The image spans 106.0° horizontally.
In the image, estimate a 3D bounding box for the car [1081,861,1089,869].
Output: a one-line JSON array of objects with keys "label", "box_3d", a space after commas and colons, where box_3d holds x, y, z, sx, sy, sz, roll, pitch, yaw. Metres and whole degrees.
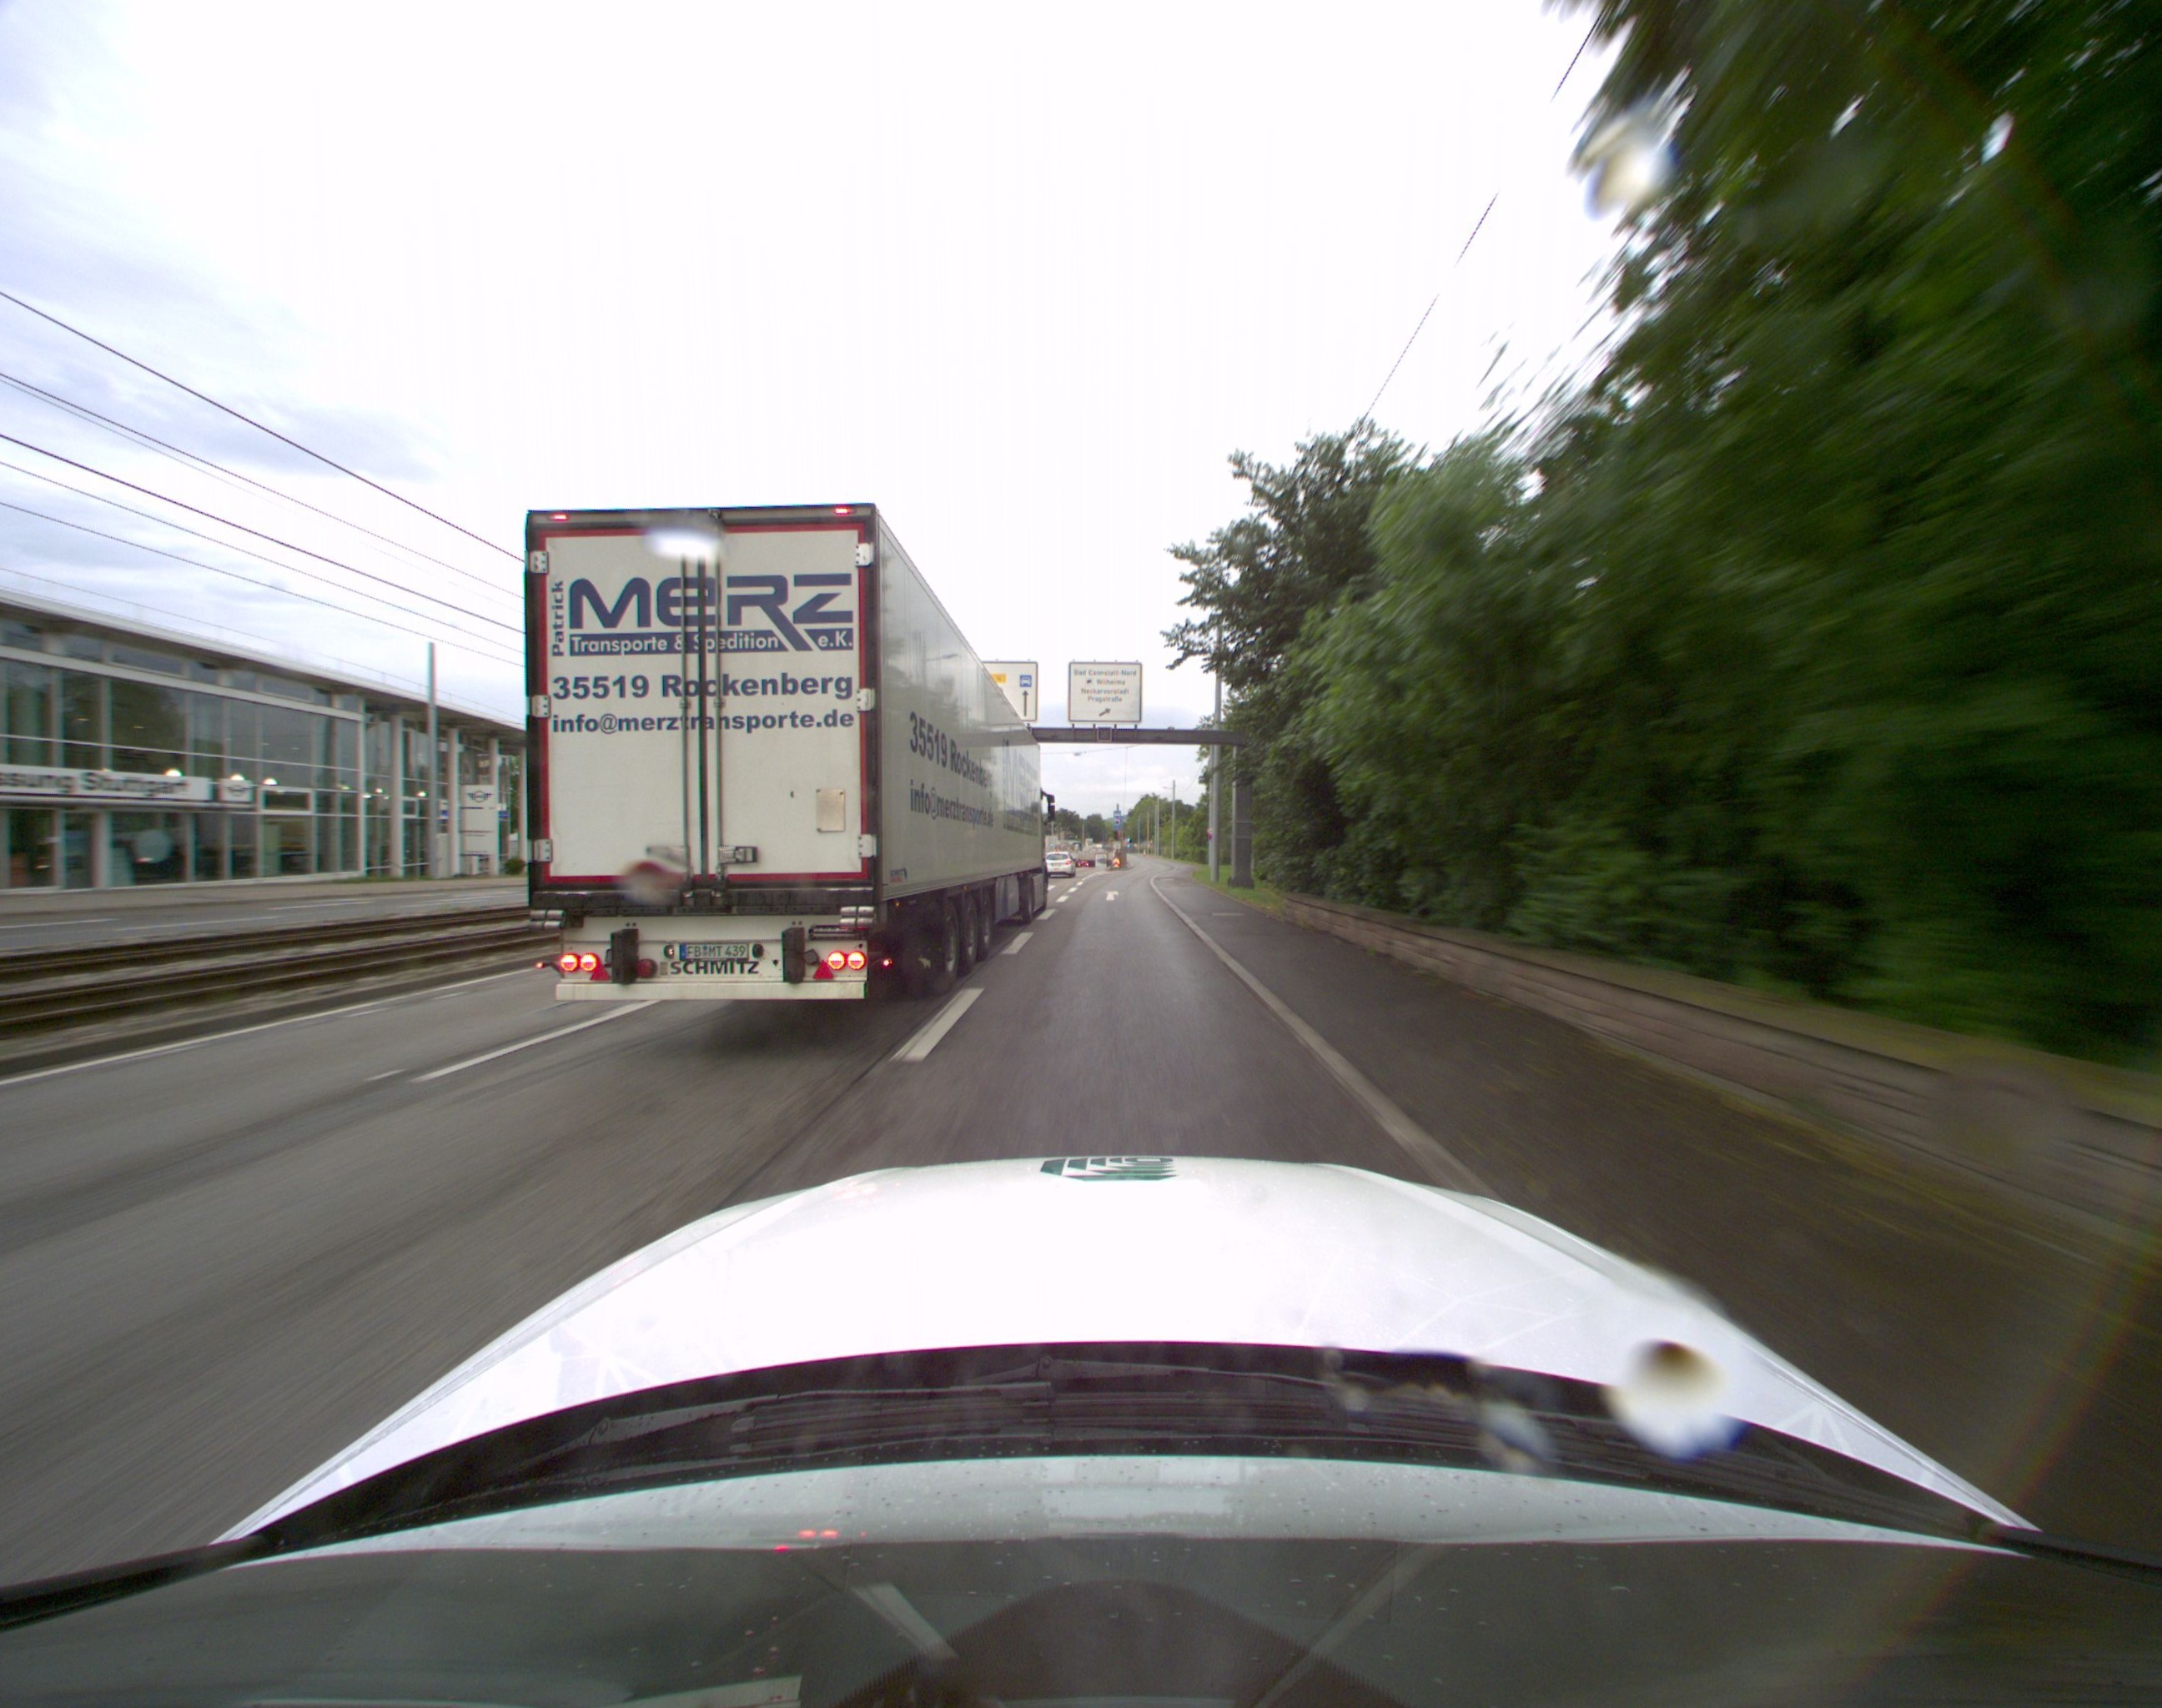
[{"label": "car", "box_3d": [0.674, 1.937, 142.928, 1.421, 1.354, 2.961, 0, 0, 1]}]

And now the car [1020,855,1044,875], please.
[{"label": "car", "box_3d": [-3.991, 0.844, 66.993, 1.675, 1.446, 4.002, 0, 2, 1]}]

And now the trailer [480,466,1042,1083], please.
[{"label": "trailer", "box_3d": [-2.555, -0.604, 12.284, 2.752, 4.252, 13.190, -1, 0, 2]}]

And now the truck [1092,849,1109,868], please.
[{"label": "truck", "box_3d": [4.227, 0.936, 175.128, 3.505, 4.039, 8.077, -1, 0, 2]}]

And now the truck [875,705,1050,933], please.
[{"label": "truck", "box_3d": [-2.331, -0.675, 18.336, 2.745, 4.204, 6.309, -1, 0, 2]}]

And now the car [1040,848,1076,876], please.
[{"label": "car", "box_3d": [-1.288, 0.432, 46.864, 1.803, 1.423, 4.002, 0, 2, 1]}]
